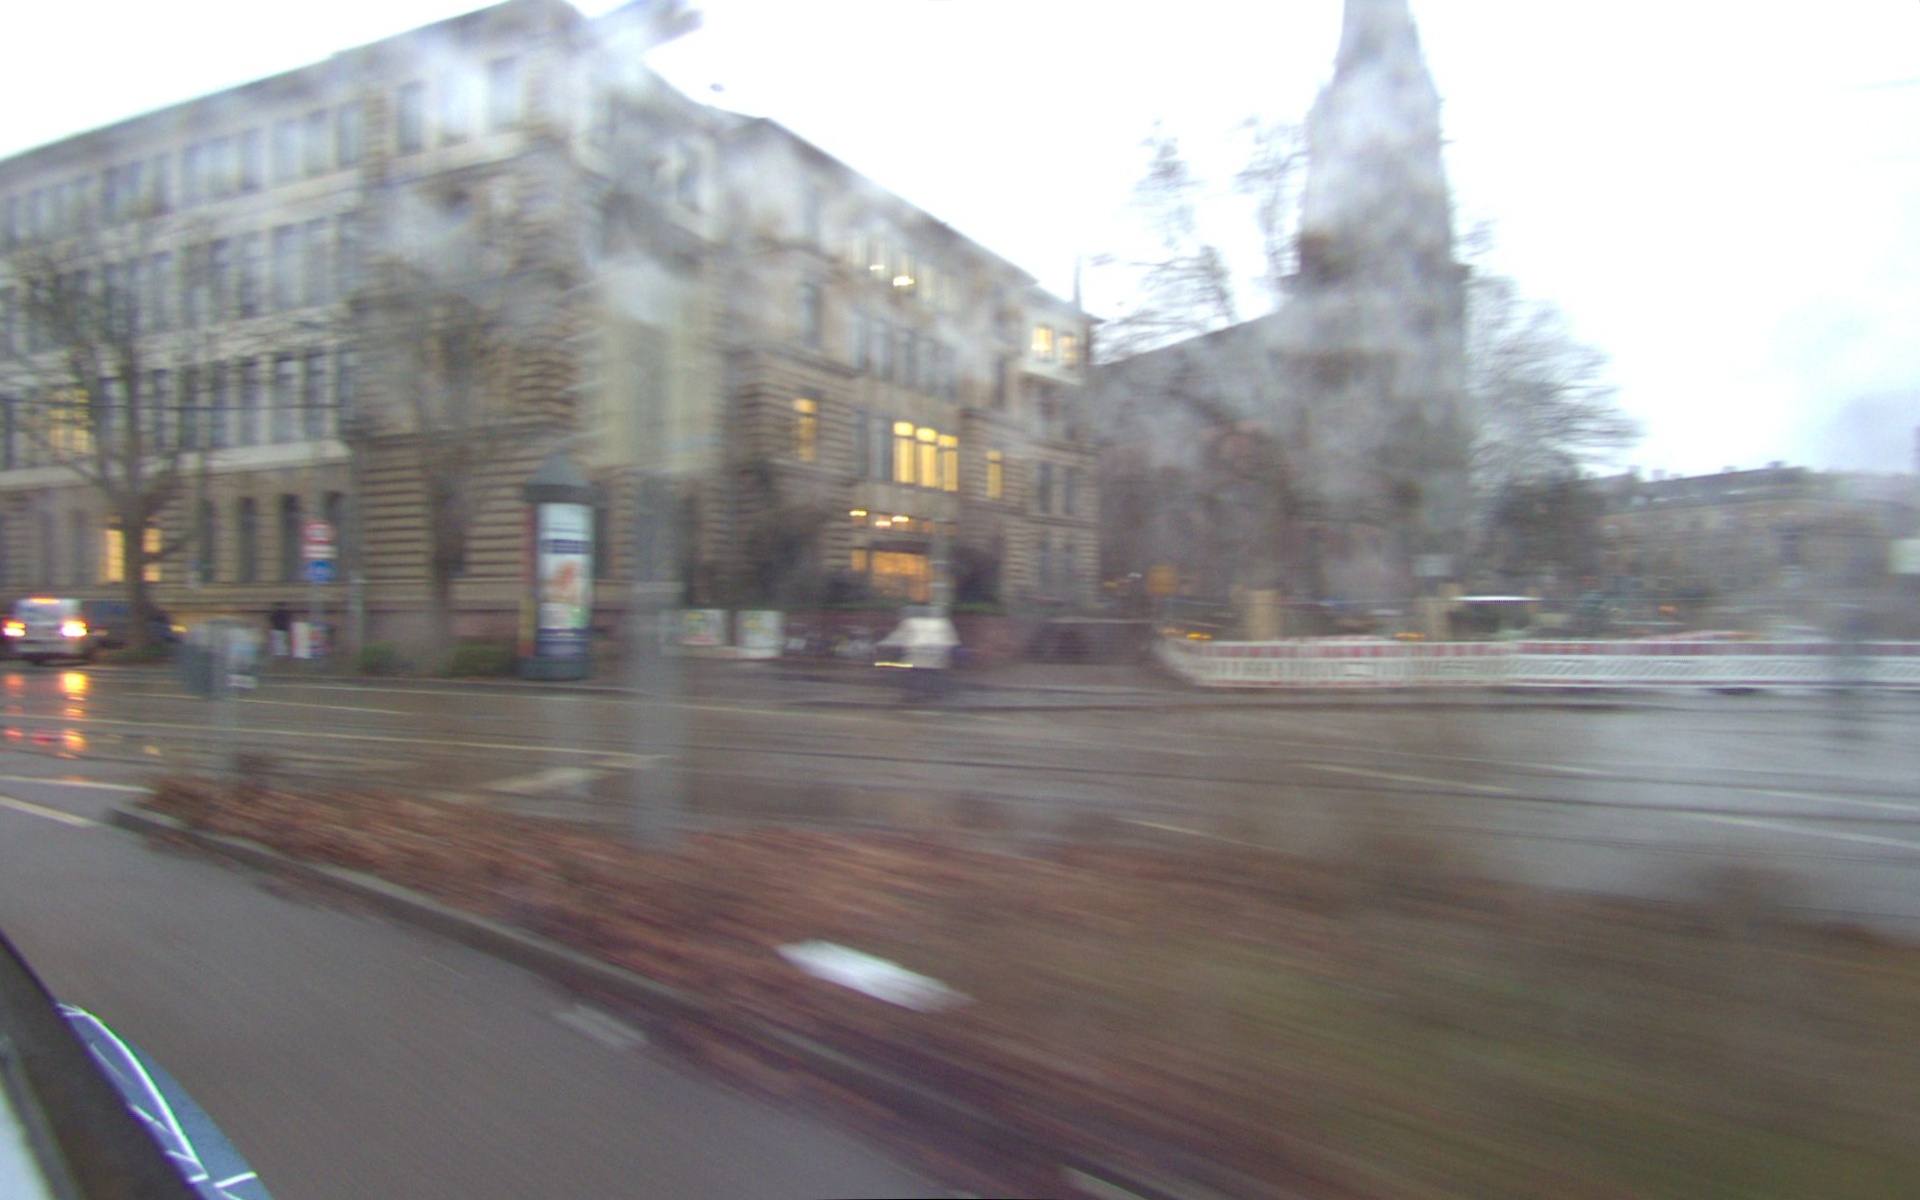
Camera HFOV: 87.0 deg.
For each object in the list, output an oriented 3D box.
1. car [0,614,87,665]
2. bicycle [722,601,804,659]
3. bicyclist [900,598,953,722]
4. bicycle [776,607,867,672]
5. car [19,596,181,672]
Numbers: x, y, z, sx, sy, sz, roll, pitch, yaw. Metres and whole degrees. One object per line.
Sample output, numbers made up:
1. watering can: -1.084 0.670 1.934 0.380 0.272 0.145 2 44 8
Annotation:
1. car: -31.385 1.299 33.236 1.773 1.468 4.482 -1 1 -4
2. bicycle: -6.107 0.925 31.370 2.388 1.701 0.715 -1 1 -17
3. bicyclist: -0.504 0.868 15.099 0.601 1.781 0.591 -1 1 -24
4. bicycle: -3.851 1.065 28.118 2.388 1.701 0.715 -1 1 -17
5. car: -26.159 0.950 31.035 1.880 2.049 4.818 -1 1 -15
